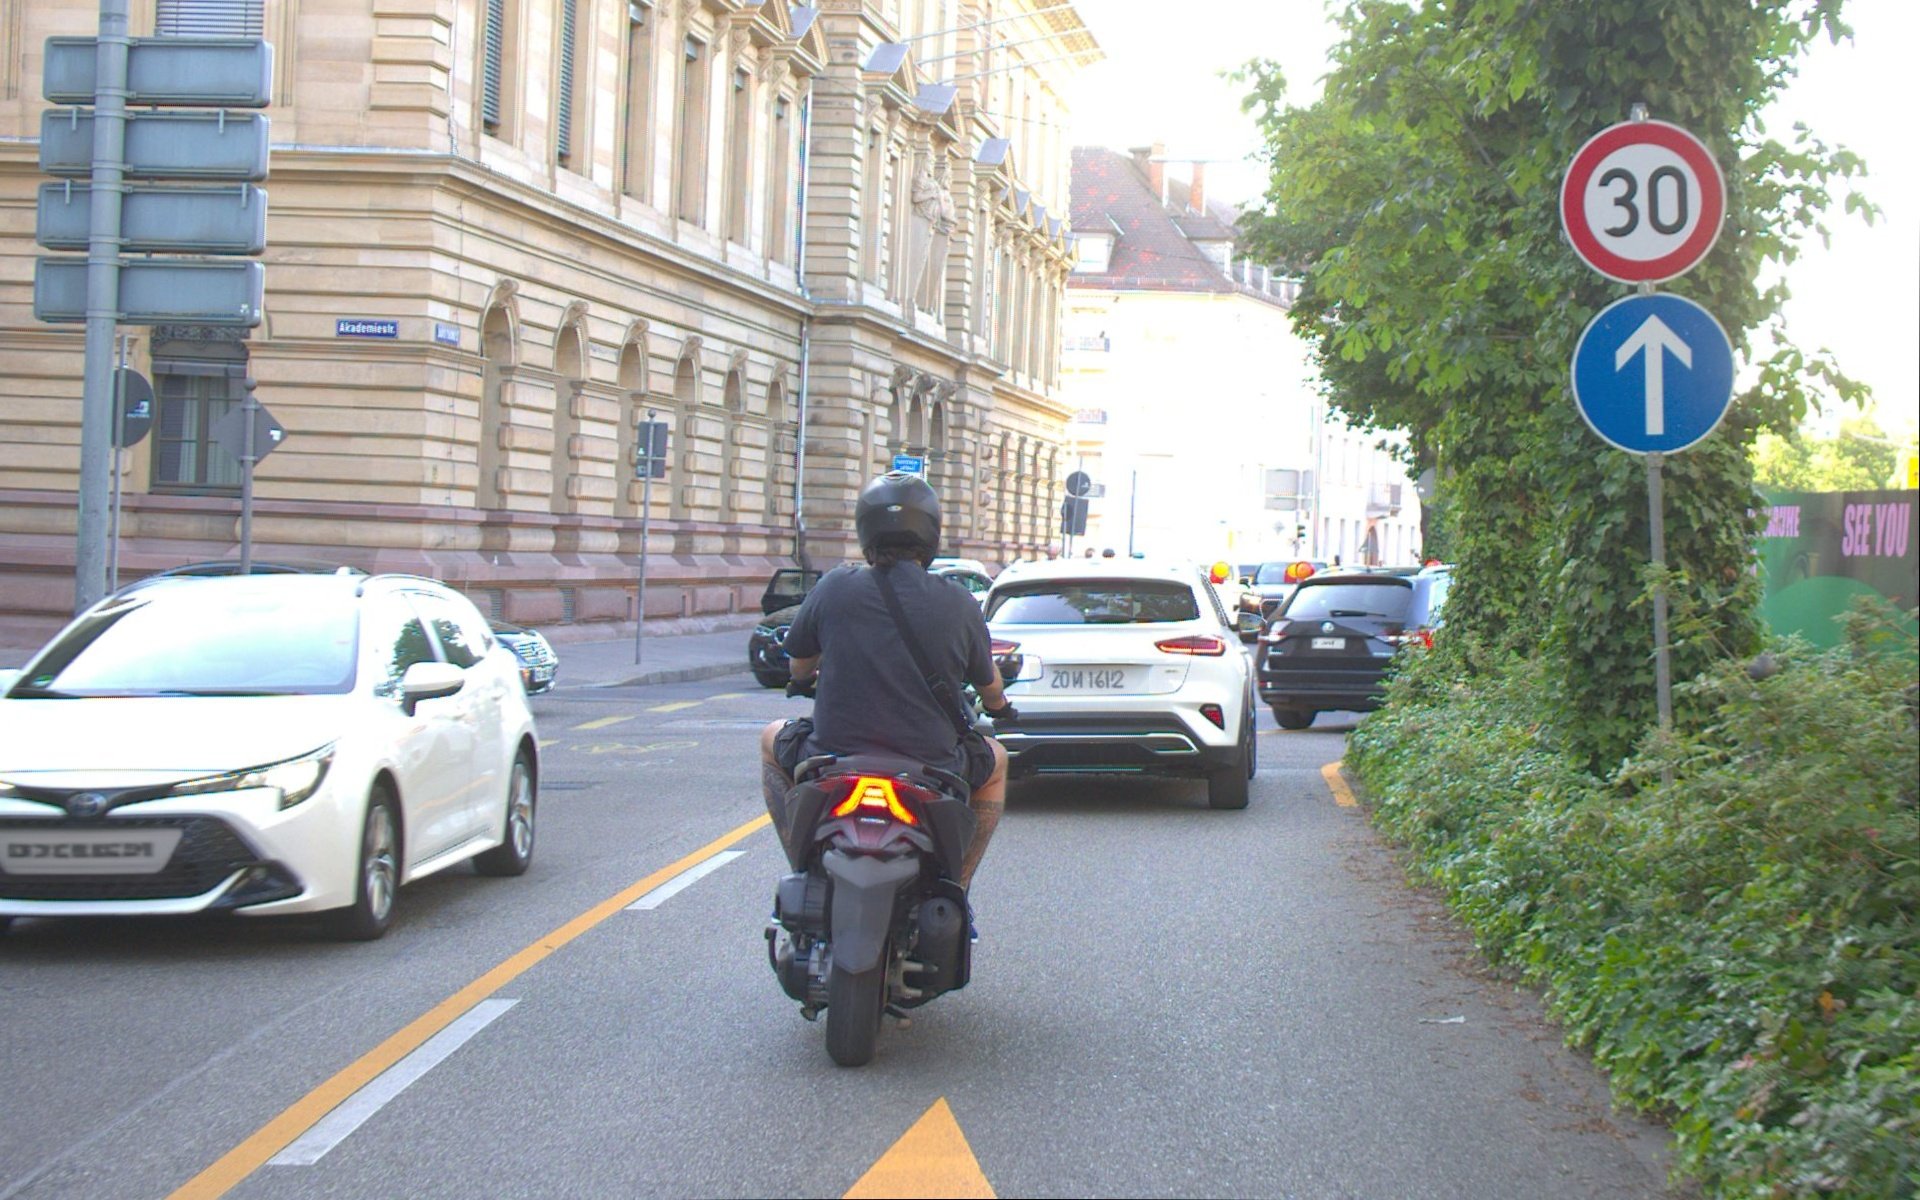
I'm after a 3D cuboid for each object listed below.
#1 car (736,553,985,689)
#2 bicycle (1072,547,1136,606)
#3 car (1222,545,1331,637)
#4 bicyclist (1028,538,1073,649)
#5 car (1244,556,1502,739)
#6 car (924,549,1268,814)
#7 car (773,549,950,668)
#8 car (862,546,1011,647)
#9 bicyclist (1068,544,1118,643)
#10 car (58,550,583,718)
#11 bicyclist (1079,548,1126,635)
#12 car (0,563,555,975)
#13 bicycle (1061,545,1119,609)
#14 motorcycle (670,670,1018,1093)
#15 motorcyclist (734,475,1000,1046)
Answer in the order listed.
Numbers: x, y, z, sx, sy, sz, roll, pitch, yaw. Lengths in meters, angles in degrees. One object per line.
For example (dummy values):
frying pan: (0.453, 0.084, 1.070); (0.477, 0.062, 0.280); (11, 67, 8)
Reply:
car: (-1.078, 0.198, 39.753); (1.771, 1.456, 4.467); (1, 1, 13)
bicycle: (2.620, -0.435, 62.435); (0.533, 1.031, 2.034); (1, 1, 21)
car: (6.140, -0.197, 66.905); (1.994, 1.689, 4.398); (1, 1, 5)
bicyclist: (1.372, -0.101, 52.015); (0.566, 1.661, 0.834); (1, 1, 7)
car: (3.822, 0.391, 31.258); (1.841, 1.458, 4.055); (3, 1, 13)
car: (0.945, 0.430, 21.502); (1.851, 1.475, 4.057); (0, 1, 7)
car: (-1.332, 0.079, 48.285); (1.994, 1.561, 4.288); (1, 1, 5)
car: (-0.338, -0.086, 55.413); (1.994, 1.523, 4.184); (1, 1, 5)
bicyclist: (2.208, -0.115, 57.026); (0.628, 1.608, 0.869); (1, 1, 15)
car: (-5.757, 0.279, 31.139); (4.315, 1.385, 1.775); (1, 1, 10)
bicyclist: (2.589, -0.159, 62.502); (0.629, 1.548, 0.731); (1, 1, 21)
car: (-3.011, 0.590, 14.502); (1.735, 1.416, 4.428); (-1, 1, 4)
bicycle: (2.163, -0.385, 57.029); (0.533, 1.031, 1.906); (1, 1, 15)
motorcycle: (-0.307, 0.792, 10.330); (0.796, 1.062, 1.725); (3, 1, 5)
motorcyclist: (-0.270, 0.466, 10.423); (0.657, 1.645, 0.650); (3, 1, 4)
